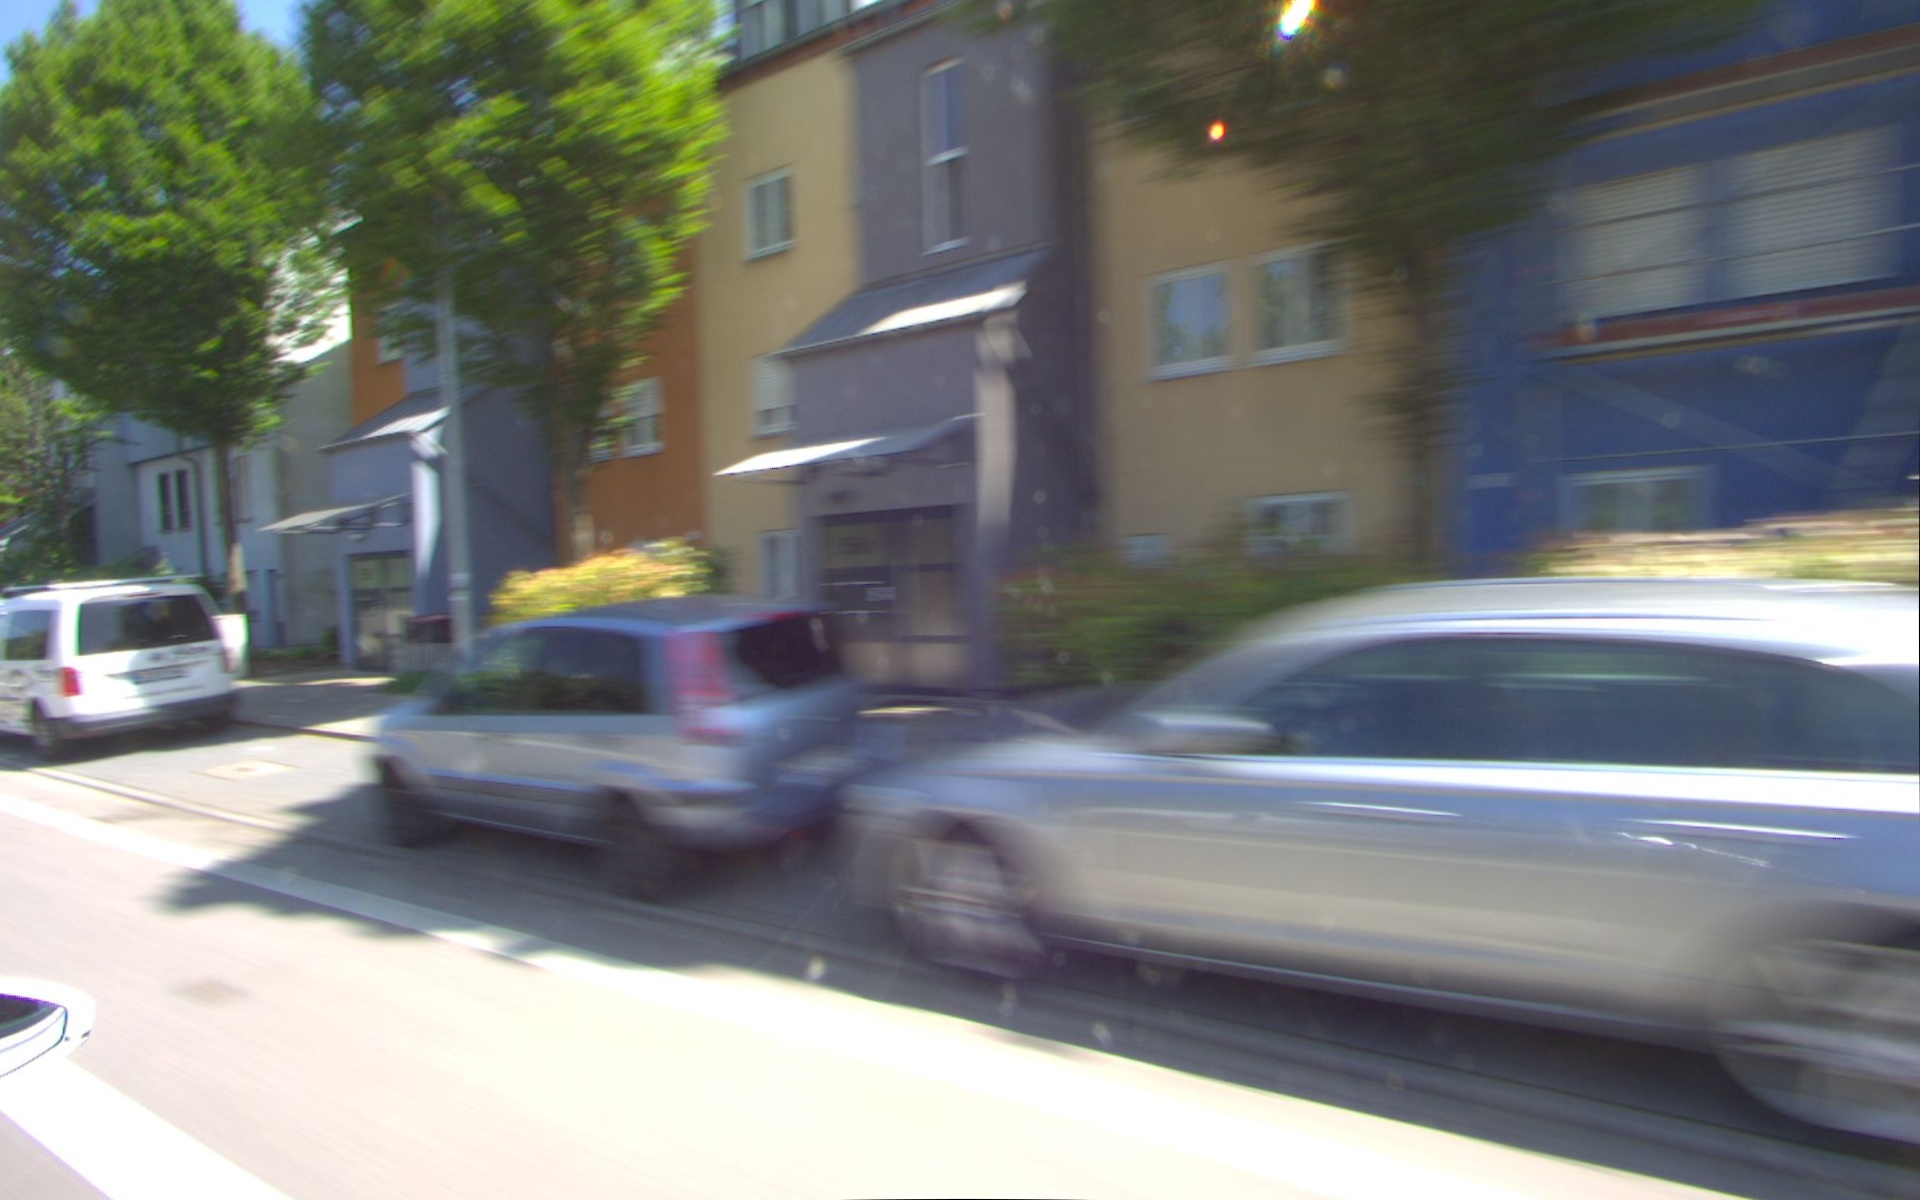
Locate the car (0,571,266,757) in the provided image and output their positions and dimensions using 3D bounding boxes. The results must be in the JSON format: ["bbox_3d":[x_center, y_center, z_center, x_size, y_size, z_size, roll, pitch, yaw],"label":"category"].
[{"bbox_3d":[-10.560,0.653,12.147,4.290,1.819,1.835,0,5,32],"label":"car"}]

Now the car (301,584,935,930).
[{"bbox_3d":[-2.407,0.751,6.703,4.158,1.551,1.834,0,5,35],"label":"car"}]

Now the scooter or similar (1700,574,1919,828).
[{"bbox_3d":[4.820,0.516,5.387,1.320,1.297,0.383,0,1,33],"label":"scooter or similar"}]

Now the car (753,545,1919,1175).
[{"bbox_3d":[1.681,0.649,4.022,4.892,1.551,1.836,-1,4,30],"label":"car"}]

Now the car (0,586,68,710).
[{"bbox_3d":[-15.749,0.732,15.347,4.711,1.718,1.834,0,5,33],"label":"car"}]
